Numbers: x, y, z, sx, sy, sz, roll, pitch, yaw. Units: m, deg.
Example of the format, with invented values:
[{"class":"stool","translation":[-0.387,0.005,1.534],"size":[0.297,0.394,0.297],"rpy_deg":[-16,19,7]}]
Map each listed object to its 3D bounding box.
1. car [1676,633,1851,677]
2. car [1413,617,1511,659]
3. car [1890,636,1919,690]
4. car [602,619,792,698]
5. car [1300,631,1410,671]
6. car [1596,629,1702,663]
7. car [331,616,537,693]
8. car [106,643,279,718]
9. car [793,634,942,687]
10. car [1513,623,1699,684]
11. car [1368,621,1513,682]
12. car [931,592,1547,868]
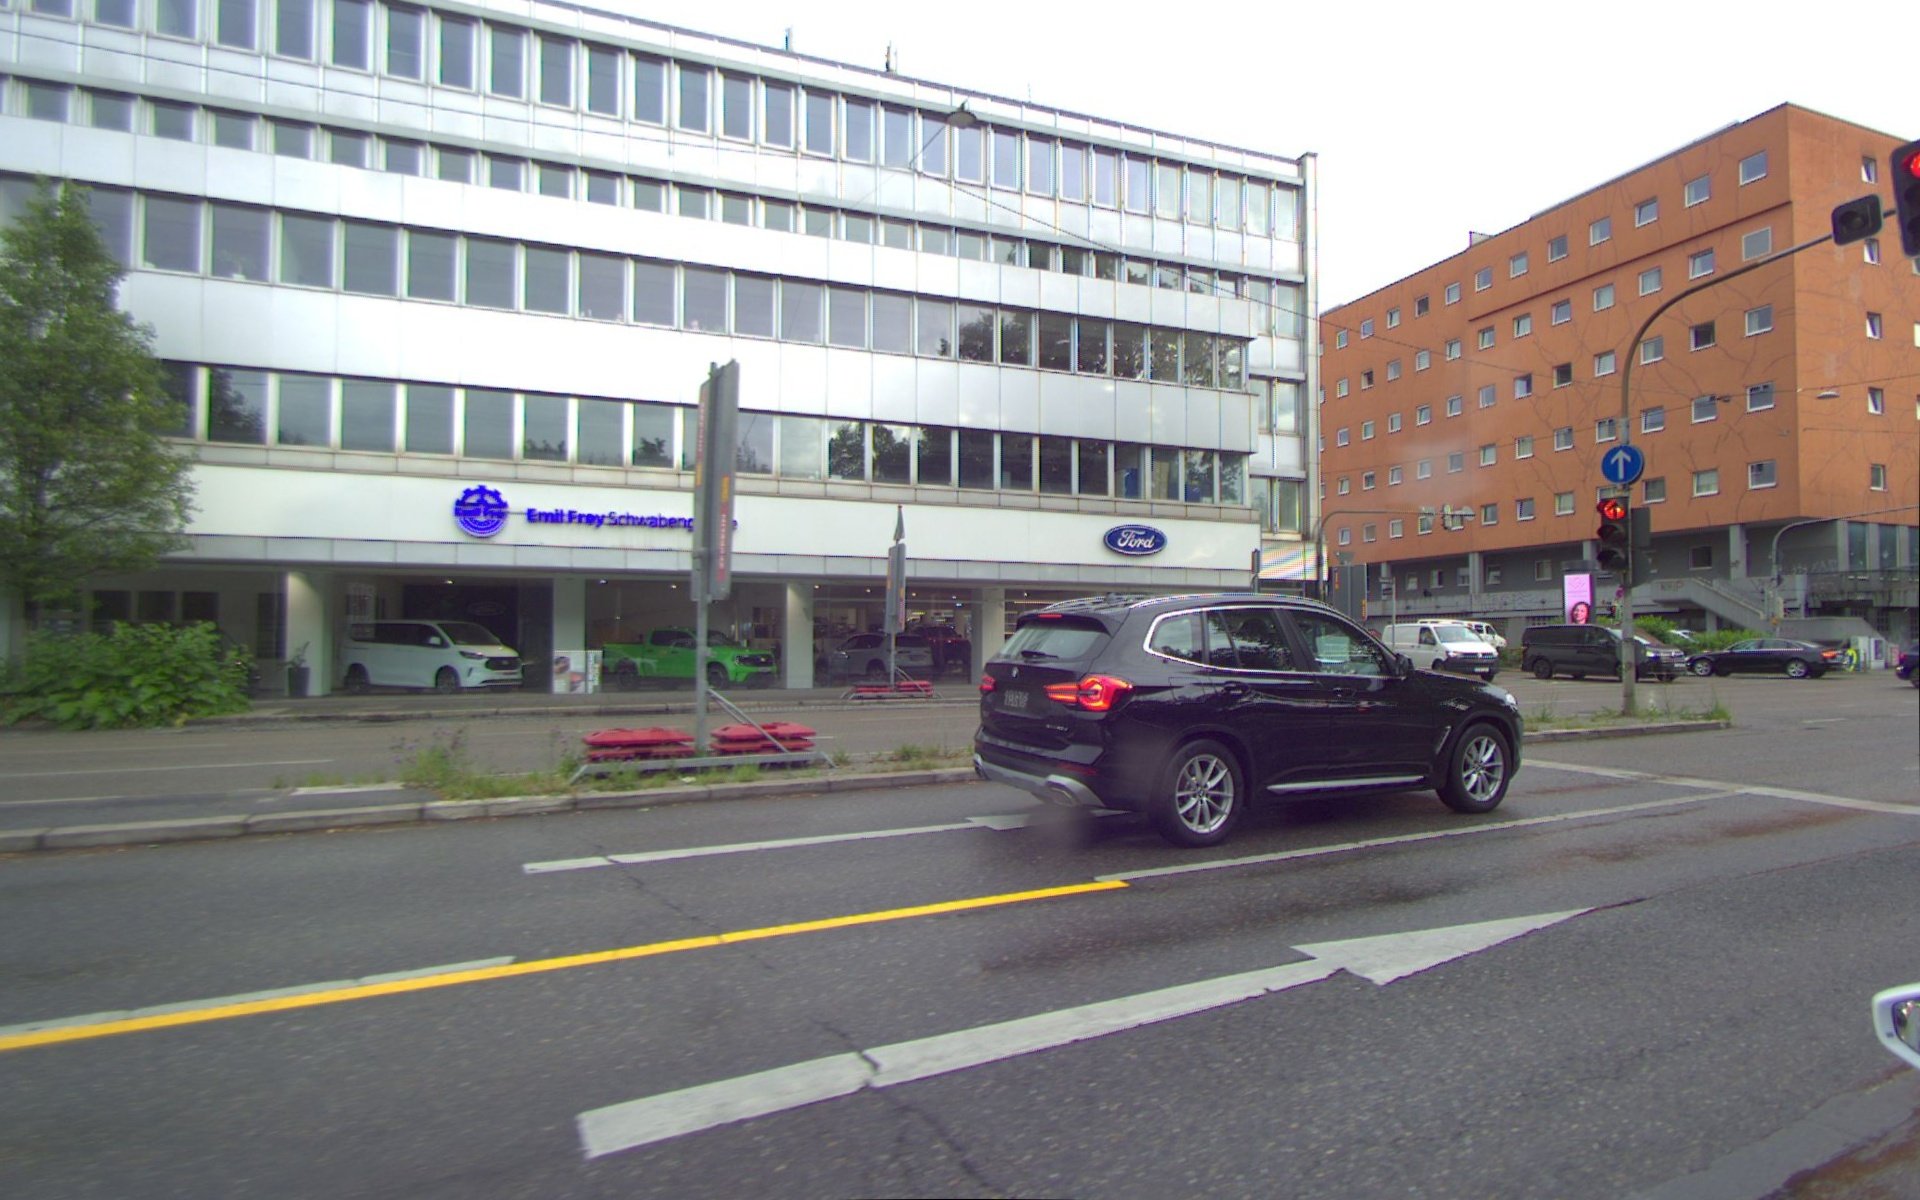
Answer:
[{"class":"car","translation":[28.563,1.940,35.858],"size":[1.757,1.470,4.573],"rpy_deg":[2,-3,-35]},{"class":"car","translation":[27.066,2.061,54.150],"size":[4.781,2.041,1.989],"rpy_deg":[2,2,-22]},{"class":"car","translation":[27.392,1.644,26.354],"size":[1.560,1.464,4.133],"rpy_deg":[1,-4,-19]},{"class":"car","translation":[-7.359,1.653,28.049],"size":[5.110,2.037,1.998],"rpy_deg":[-2,-4,27]},{"class":"car","translation":[17.590,2.230,44.968],"size":[1.857,1.659,4.492],"rpy_deg":[1,-1,-28]},{"class":"car","translation":[34.479,2.350,50.401],"size":[1.865,1.639,4.012],"rpy_deg":[1,-4,-19]},{"class":"car","translation":[-14.001,1.477,26.777],"size":[4.890,1.922,2.001],"rpy_deg":[-2,-4,18]},{"class":"car","translation":[-17.956,1.854,23.479],"size":[3.932,1.594,1.995],"rpy_deg":[-3,-4,33]},{"class":"car","translation":[-3.014,1.943,31.769],"size":[1.986,1.540,5.141],"rpy_deg":[3,-5,-43]},{"class":"car","translation":[21.301,1.790,33.416],"size":[1.970,1.870,5.071],"rpy_deg":[1,-3,-20]},{"class":"car","translation":[16.531,1.828,34.943],"size":[1.963,1.957,5.207],"rpy_deg":[0,-4,-8]},{"class":"car","translation":[2.254,0.769,7.847],"size":[4.611,1.619,1.939],"rpy_deg":[0,0,-28]}]
